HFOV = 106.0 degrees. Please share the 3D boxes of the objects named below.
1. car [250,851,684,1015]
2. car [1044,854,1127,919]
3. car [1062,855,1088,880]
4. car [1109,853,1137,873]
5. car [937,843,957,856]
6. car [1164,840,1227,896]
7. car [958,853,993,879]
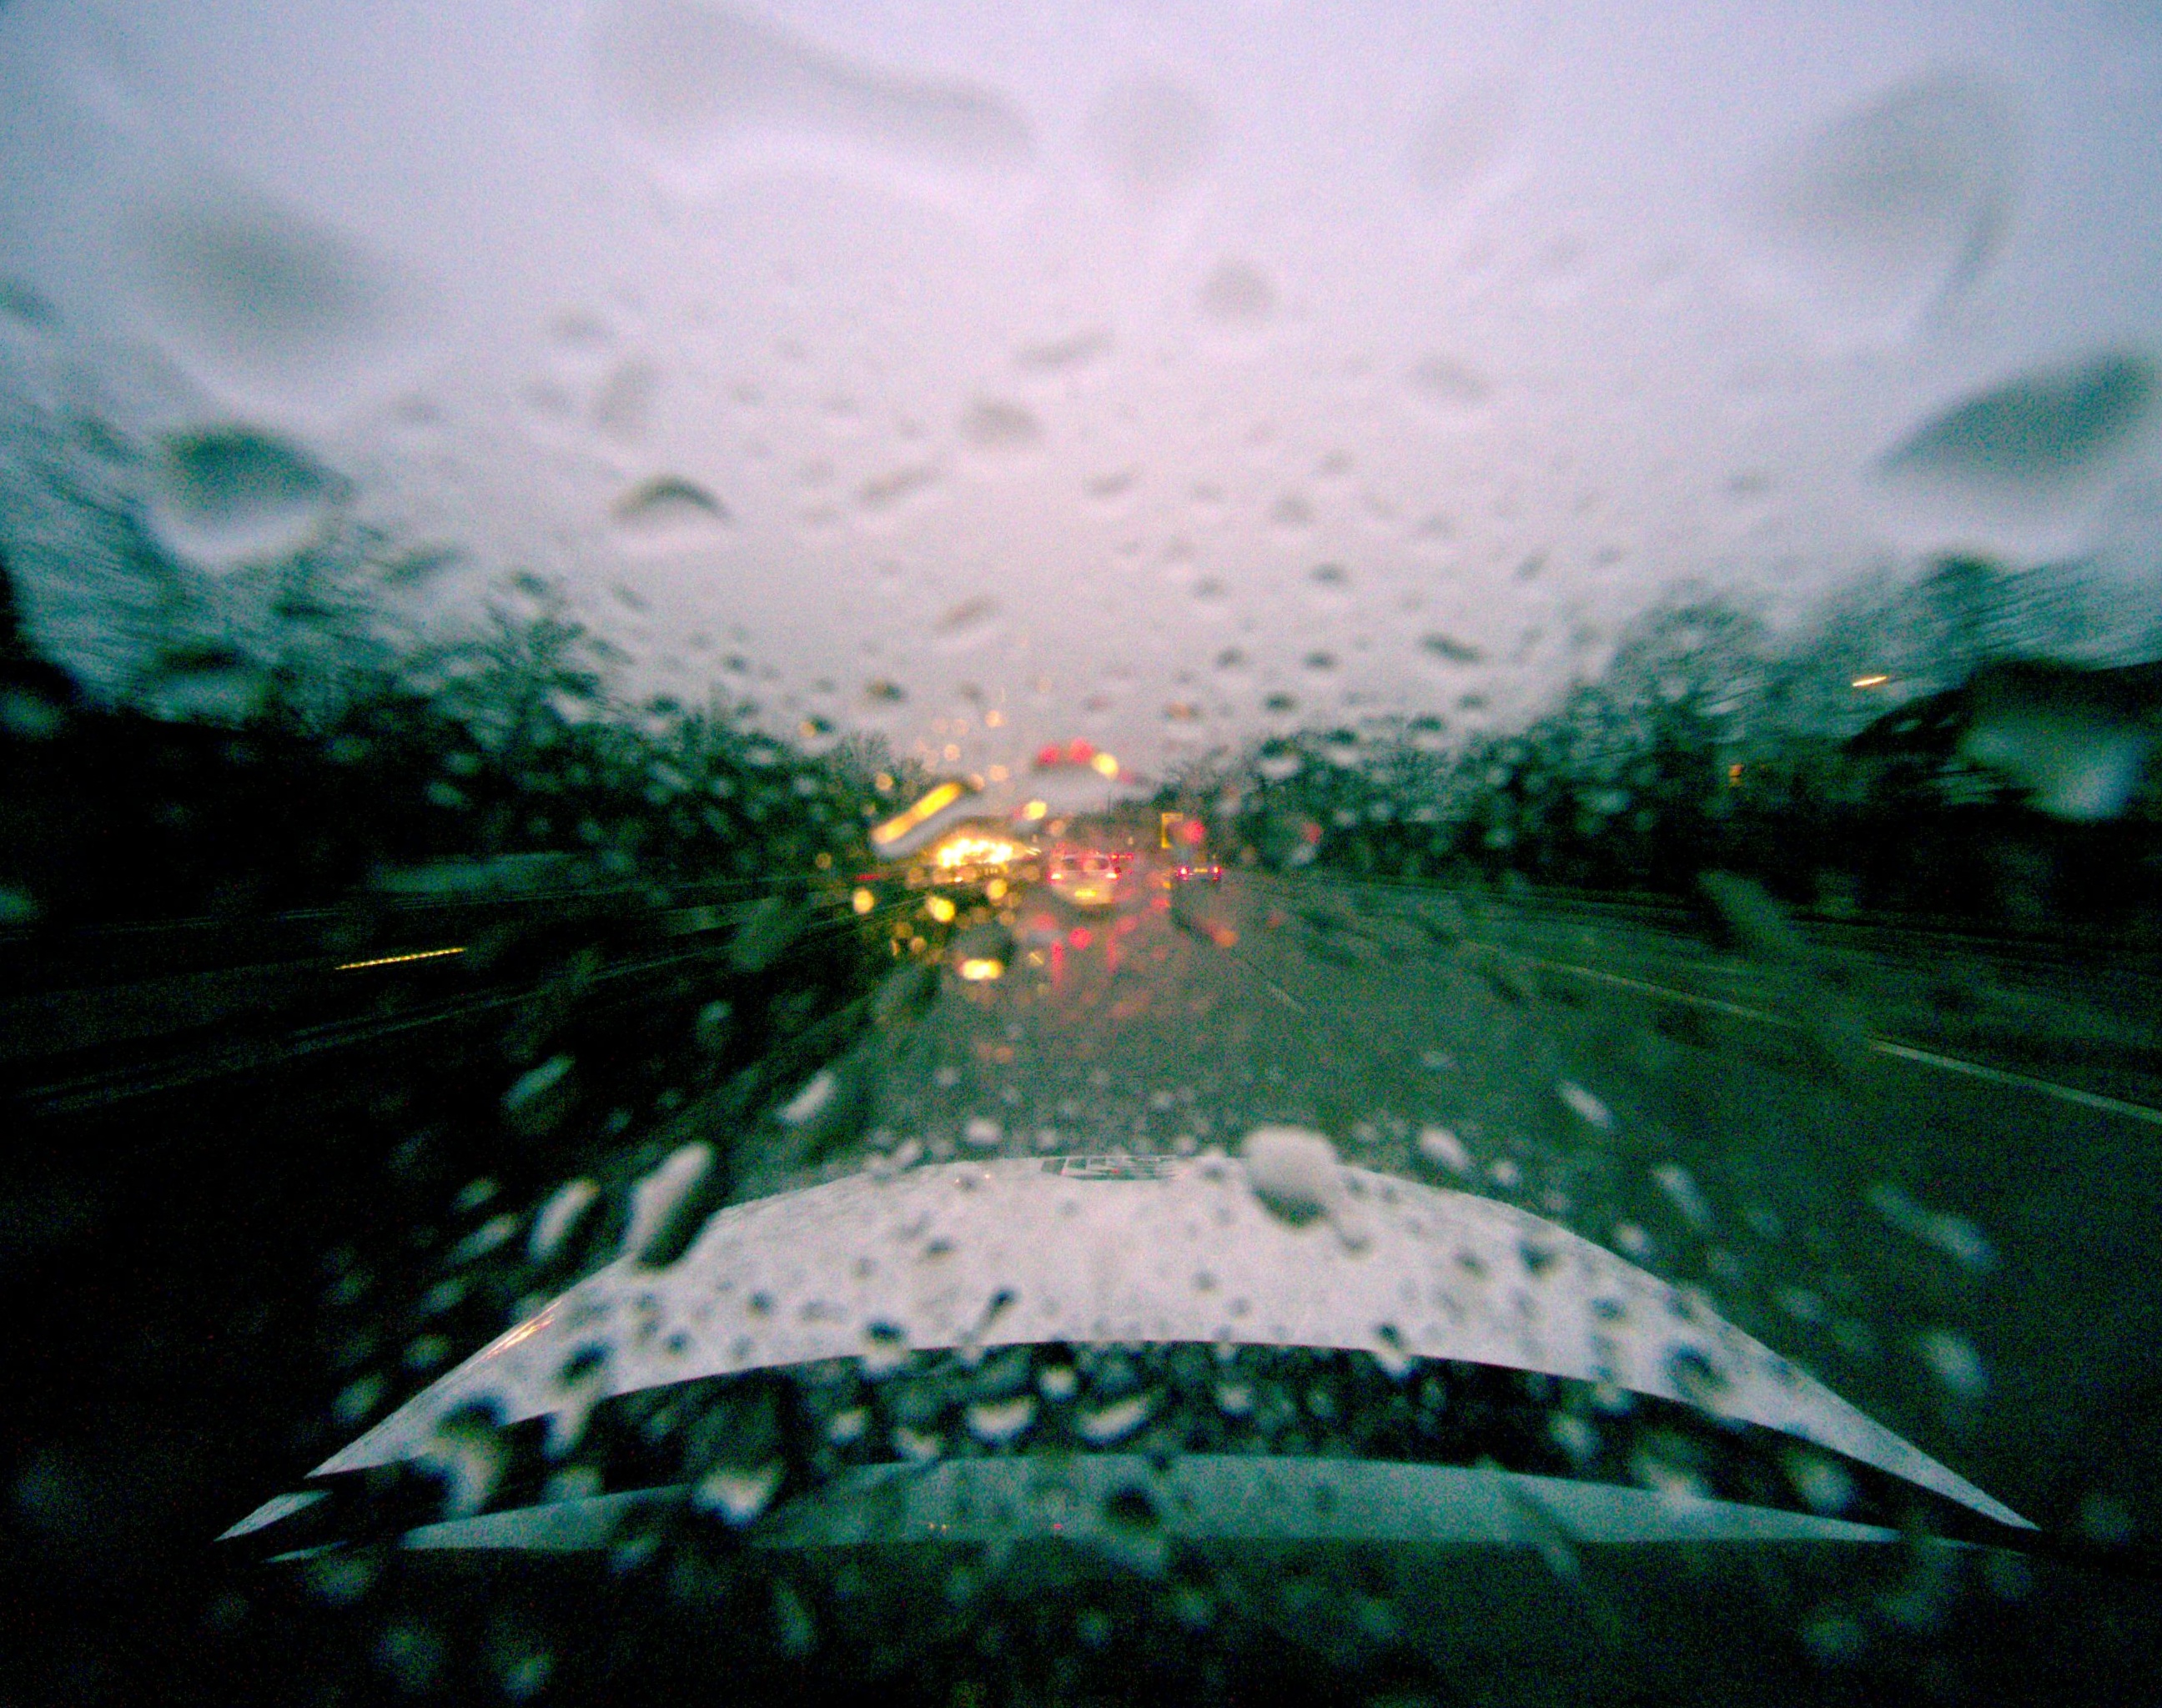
[{"bbox_3d":[-6.759,0.730,9.774,1.610,1.484,4.600,1,0,1],"label":"car"},{"bbox_3d":[0.174,0.789,21.921,2.017,1.575,4.002,1,0,2],"label":"car"},{"bbox_3d":[-0.493,1.098,67.140,1.987,2.013,3.999,1,0,-1],"label":"car"},{"bbox_3d":[3.692,0.819,72.343,1.928,1.546,3.769,-5,-1,-3],"label":"car"},{"bbox_3d":[-18.200,-0.598,110.762,1.875,1.832,4.784,1,0,-1],"label":"car"},{"bbox_3d":[4.406,0.525,31.792,1.926,2.019,3.773,1,0,0],"label":"car"},{"bbox_3d":[-6.478,0.722,50.323,1.648,1.519,3.505,1,0,1],"label":"car"}]
